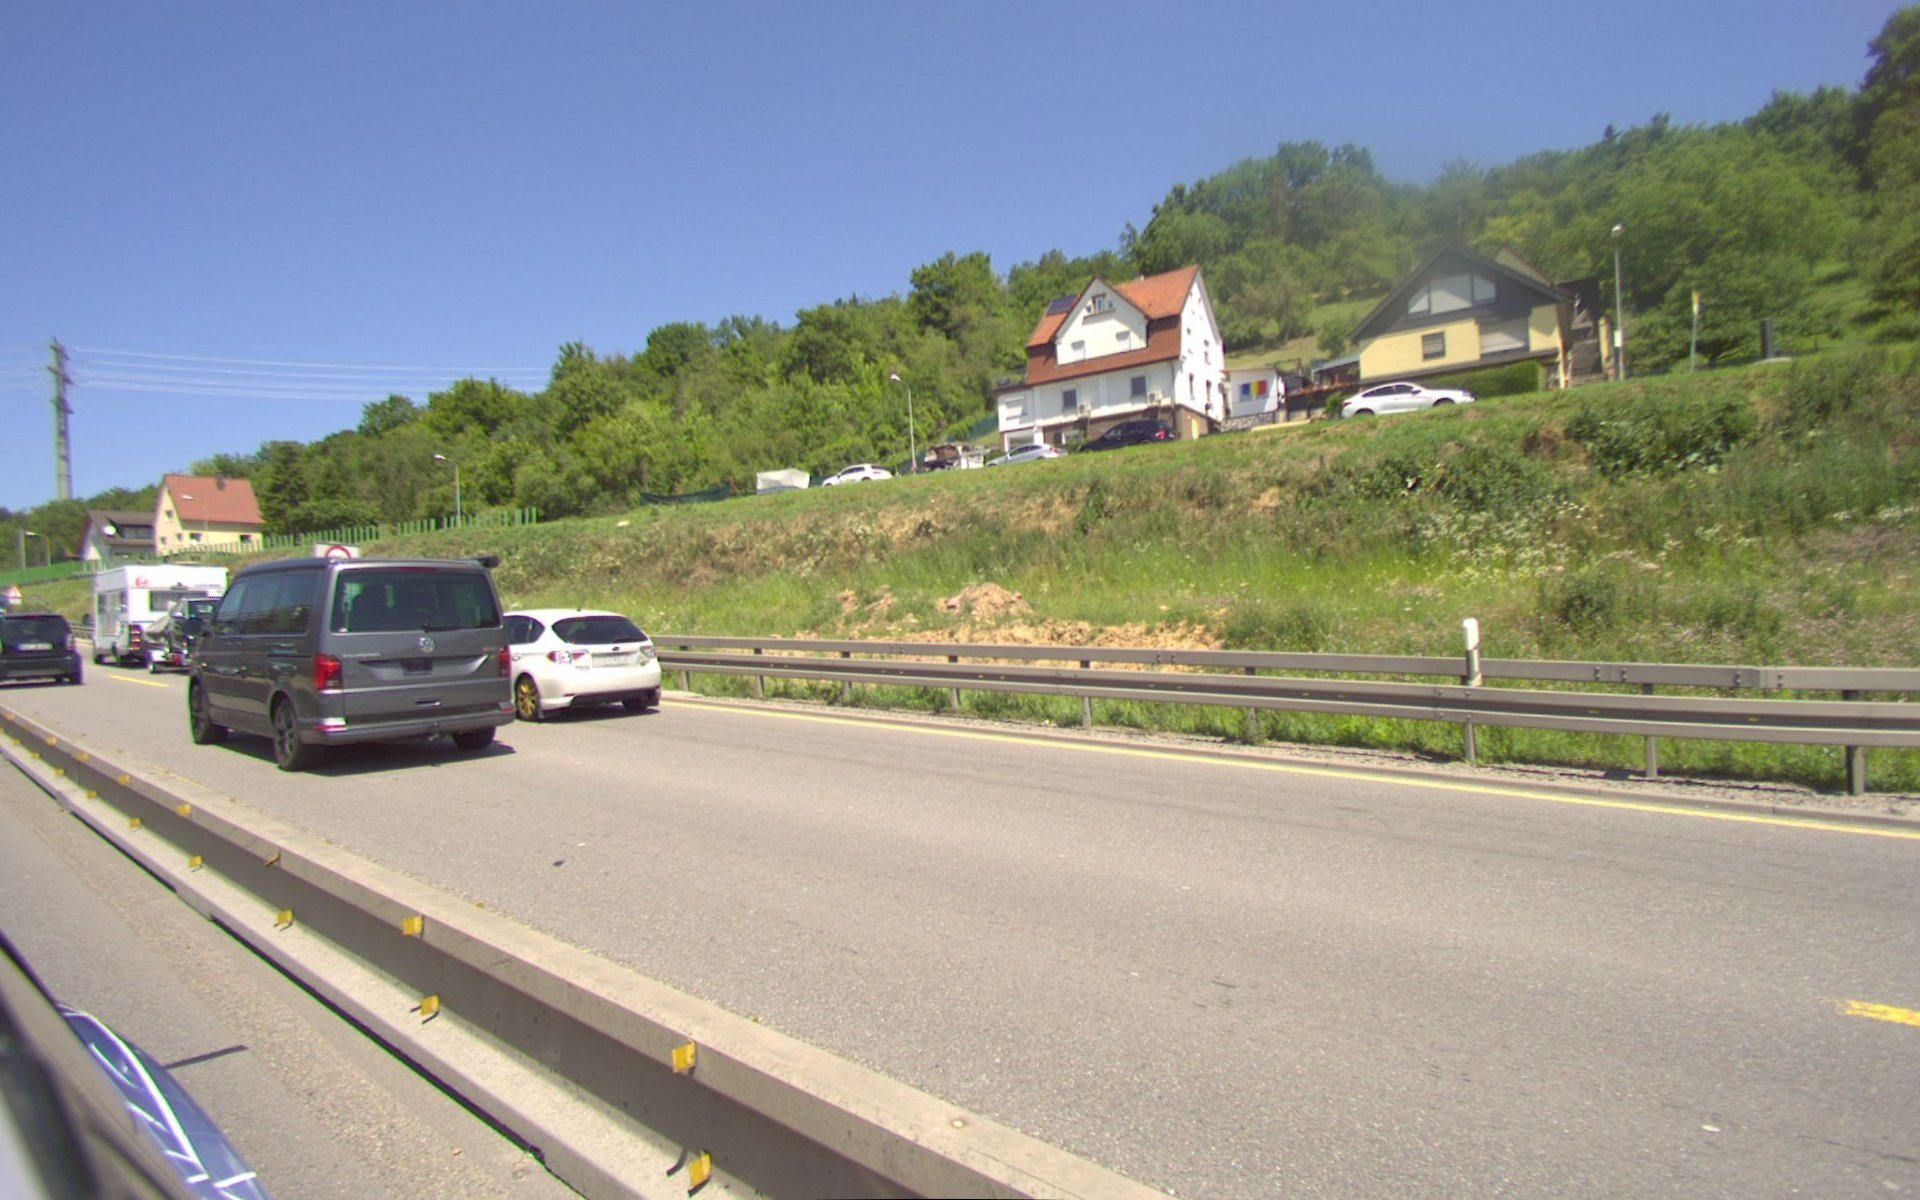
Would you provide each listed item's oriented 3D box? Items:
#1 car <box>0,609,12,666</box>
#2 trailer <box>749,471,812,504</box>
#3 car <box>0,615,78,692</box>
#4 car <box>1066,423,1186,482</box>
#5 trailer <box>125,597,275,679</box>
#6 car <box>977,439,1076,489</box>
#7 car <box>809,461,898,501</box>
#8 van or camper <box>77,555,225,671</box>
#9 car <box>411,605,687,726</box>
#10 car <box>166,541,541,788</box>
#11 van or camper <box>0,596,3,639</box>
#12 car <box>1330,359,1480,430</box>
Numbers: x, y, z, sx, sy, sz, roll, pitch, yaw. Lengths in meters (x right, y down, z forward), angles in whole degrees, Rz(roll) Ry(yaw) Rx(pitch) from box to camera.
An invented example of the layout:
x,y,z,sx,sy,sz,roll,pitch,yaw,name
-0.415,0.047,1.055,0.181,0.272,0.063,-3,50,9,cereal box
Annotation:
x,y,z,sx,sy,sz,roll,pitch,yaw,name
-33.400,1.269,33.940,5.037,1.842,1.818,-1,-1,41,car
-10.117,-6.332,56.974,3.026,1.527,1.888,0,0,31,trailer
-19.758,1.089,21.271,2.804,1.516,1.468,-1,-1,41,car
7.448,-6.577,45.645,4.963,2.023,2.052,0,0,36,car
-19.660,0.917,26.076,5.138,1.908,2.079,-1,0,41,trailer
3.155,-6.465,48.449,4.421,1.886,1.976,0,0,36,car
-5.706,-6.315,54.160,4.537,1.668,1.979,0,0,32,car
-24.136,0.389,30.060,6.920,3.089,2.267,-1,-1,41,van or camper
-5.991,0.833,14.470,4.553,1.442,1.791,-1,0,41,car
-6.529,0.555,10.636,4.902,2.029,1.891,-1,0,40,car
-61.005,1.119,62.544,6.561,2.593,2.118,-1,0,41,van or camper
16.983,-7.792,38.734,5.000,1.807,1.977,0,0,35,car
